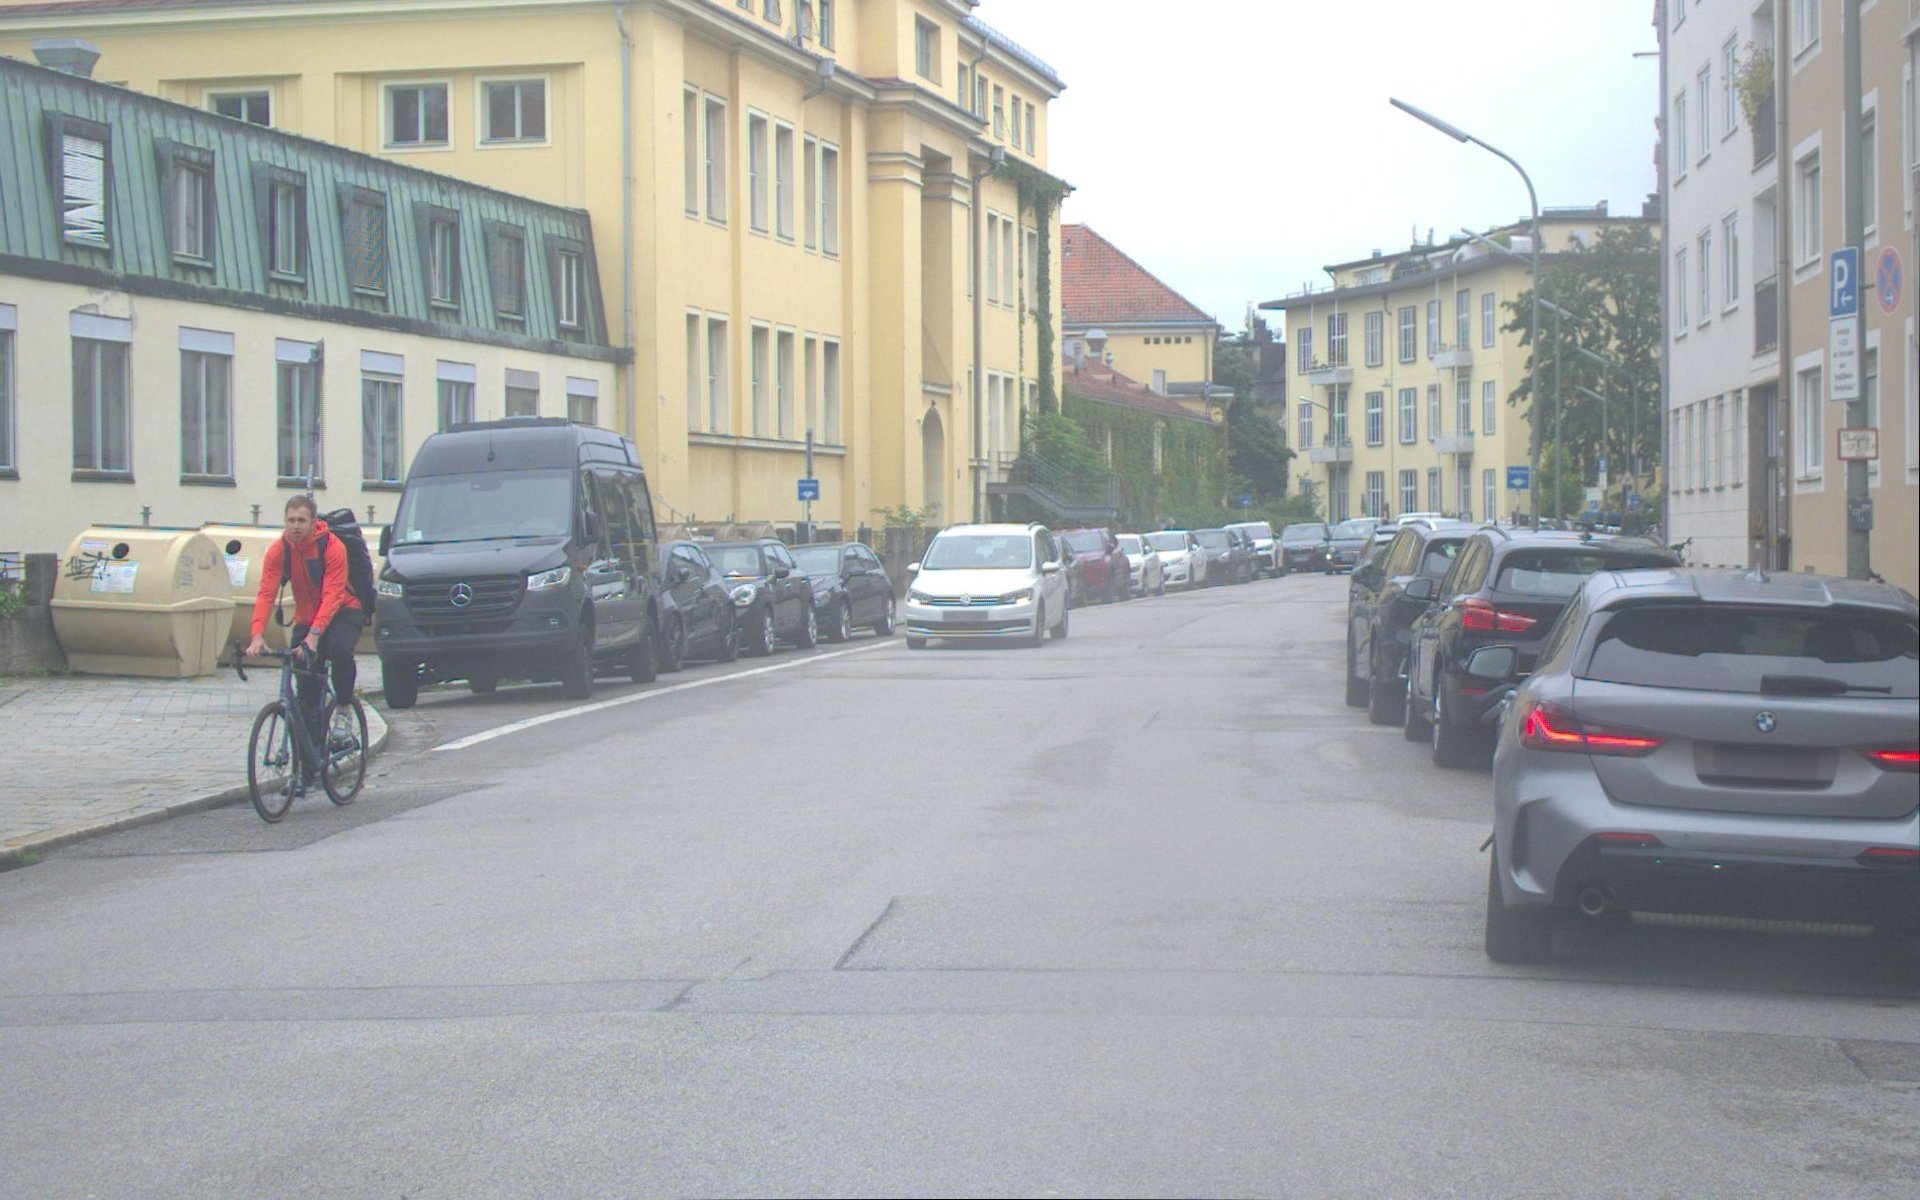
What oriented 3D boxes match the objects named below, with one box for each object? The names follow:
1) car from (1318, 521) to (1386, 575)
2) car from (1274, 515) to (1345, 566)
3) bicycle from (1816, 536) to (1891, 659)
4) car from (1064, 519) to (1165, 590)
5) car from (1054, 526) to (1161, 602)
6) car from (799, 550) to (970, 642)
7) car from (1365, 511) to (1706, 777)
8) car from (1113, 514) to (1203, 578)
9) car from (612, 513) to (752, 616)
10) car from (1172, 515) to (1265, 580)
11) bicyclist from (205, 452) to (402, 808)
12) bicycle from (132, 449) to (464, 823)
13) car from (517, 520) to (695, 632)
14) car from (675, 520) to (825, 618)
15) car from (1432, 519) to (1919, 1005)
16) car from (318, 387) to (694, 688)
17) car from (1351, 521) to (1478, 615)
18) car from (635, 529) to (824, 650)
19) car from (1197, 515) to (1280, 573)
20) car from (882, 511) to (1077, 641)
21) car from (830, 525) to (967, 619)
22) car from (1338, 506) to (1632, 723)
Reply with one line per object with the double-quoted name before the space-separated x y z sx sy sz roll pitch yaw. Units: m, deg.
"car" 11.386 -1.524 99.797 1.698 1.439 3.507 2 2 10
"car" 11.355 -1.949 111.393 1.994 1.543 3.999 2 2 10
"bicycle" 10.042 -0.051 38.698 0.468 1.283 2.674 1 2 8
"car" 3.434 -1.026 75.821 1.698 1.439 3.507 2 2 11
"car" 3.040 -0.753 70.127 1.698 1.439 3.507 2 2 10
"car" -1.068 -0.080 50.458 1.529 1.198 3.739 2 2 14
"car" 3.878 0.221 23.834 1.830 1.596 4.266 1 2 3
"car" 4.806 -1.319 83.099 1.698 1.439 3.507 2 2 11
"car" -4.757 -0.633 59.076 1.606 1.655 2.807 2 2 13
"car" 6.712 -1.376 89.015 1.994 1.543 3.999 2 2 10
"bicyclist" -3.832 0.164 20.122 0.767 2.007 0.767 -4 1 12
"bicycle" -3.802 0.156 20.081 0.748 2.007 2.846 -2 1 13
"car" -5.642 -0.416 55.224 1.720 1.655 3.746 2 2 13
"car" -3.793 -0.597 62.635 1.720 1.655 3.746 2 2 13
"car" 2.838 0.480 13.143 1.925 1.507 4.391 2 1 7
"car" -4.397 -0.577 34.484 2.422 2.706 5.952 -1 0 5
"car" 7.227 -0.529 55.002 1.887 1.405 4.430 1 1 6
"car" -3.023 -0.177 45.775 1.699 1.448 3.740 2 2 9
"car" 7.986 -1.613 98.194 1.994 1.543 3.999 2 2 10
"car" 0.320 -0.287 46.704 2.026 1.616 4.504 -2 -1 8
"car" -1.065 -0.527 61.566 1.773 1.545 3.777 2 2 9
"car" 4.312 0.046 28.917 1.964 1.596 4.671 1 2 3
